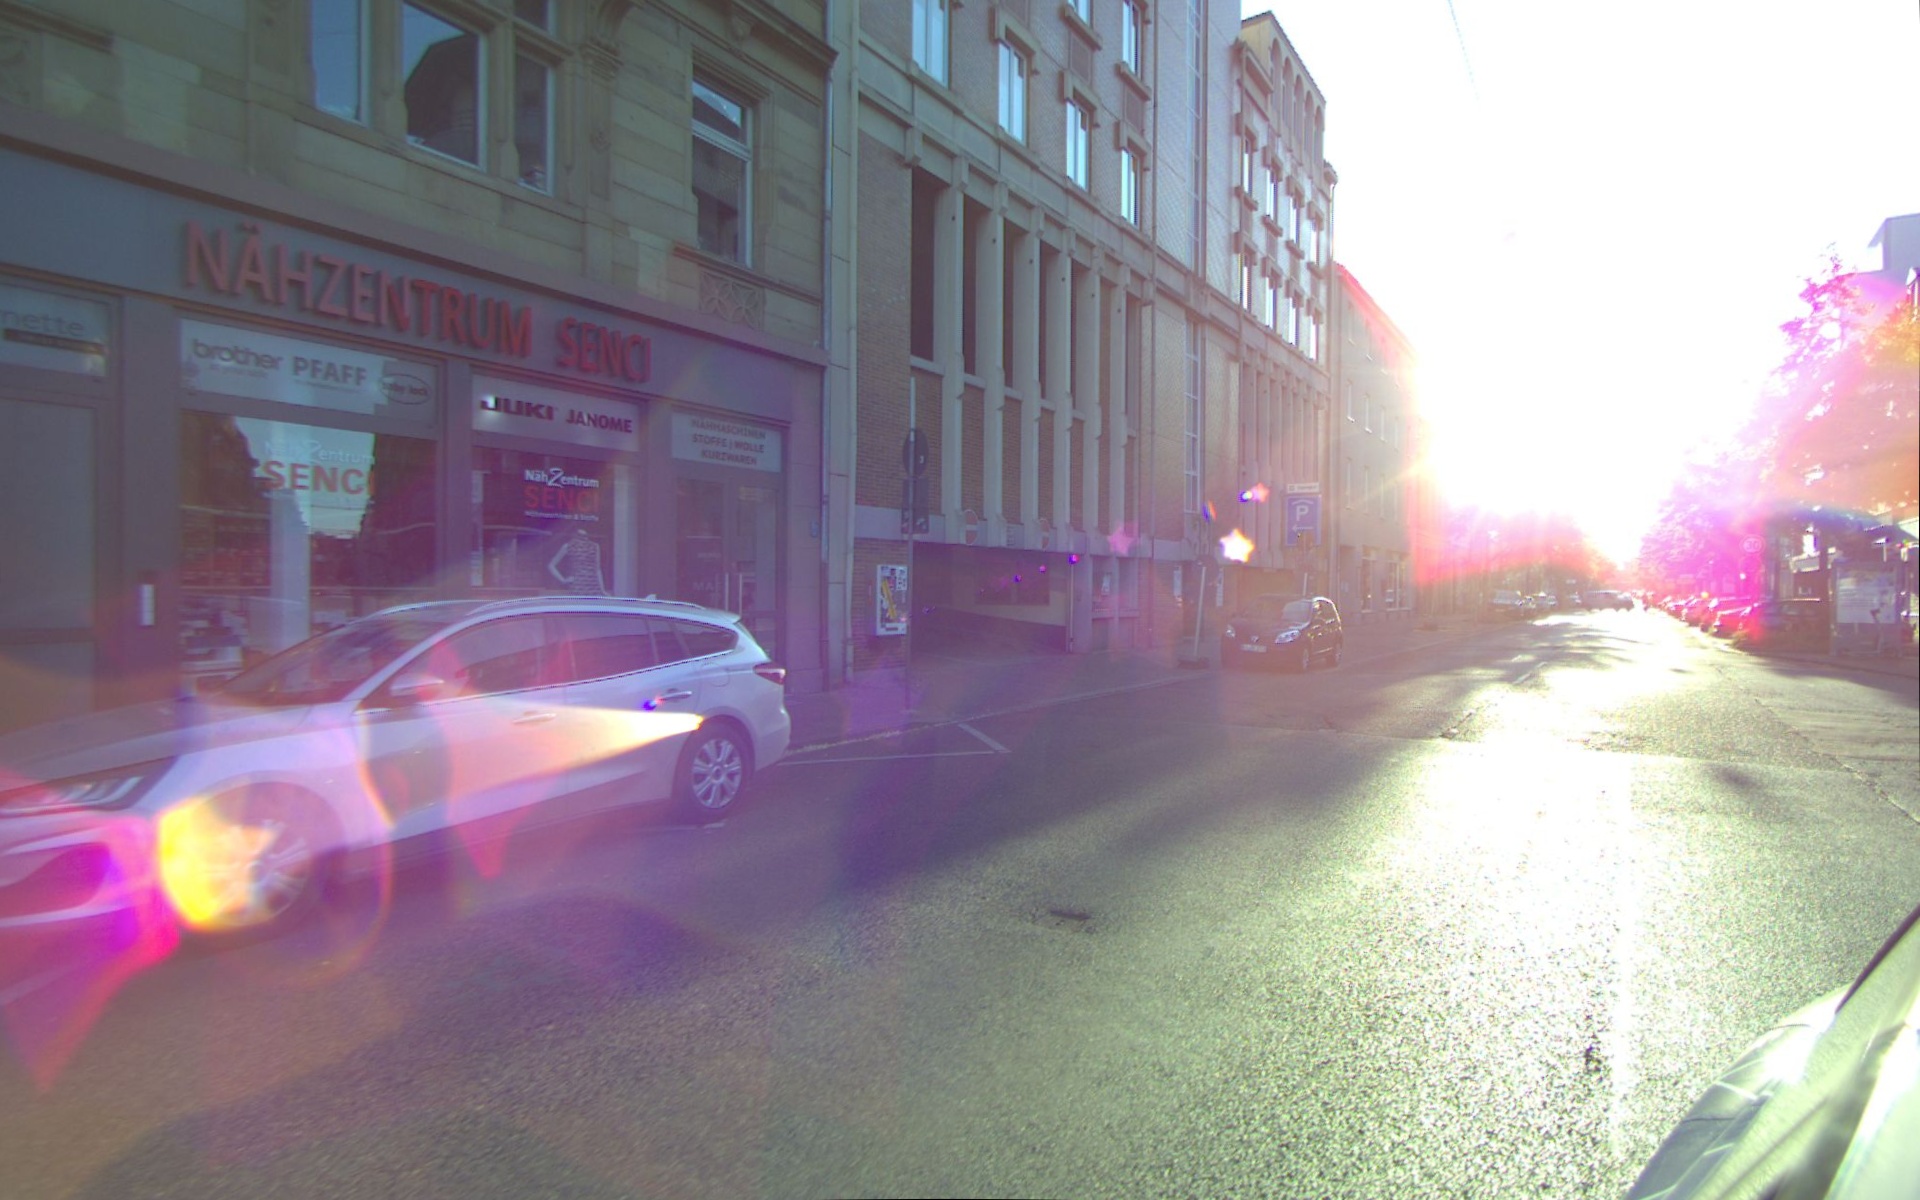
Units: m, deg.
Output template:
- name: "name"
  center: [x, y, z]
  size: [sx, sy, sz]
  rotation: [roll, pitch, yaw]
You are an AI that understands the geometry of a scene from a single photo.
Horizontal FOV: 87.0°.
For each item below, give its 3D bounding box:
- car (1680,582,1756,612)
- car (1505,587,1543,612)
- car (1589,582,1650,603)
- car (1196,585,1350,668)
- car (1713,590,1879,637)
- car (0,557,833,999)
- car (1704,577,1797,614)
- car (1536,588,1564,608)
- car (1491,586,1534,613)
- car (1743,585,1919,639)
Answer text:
- name: "car"
  center: [52.002, -0.225, 69.492]
  size: [3.968, 2.039, 1.978]
  rotation: [0, 0, 32]
- name: "car"
  center: [36.923, -0.047, 66.211]
  size: [1.985, 1.571, 3.953]
  rotation: [1, 1, 33]
- name: "car"
  center: [64.738, -0.739, 99.444]
  size: [1.958, 2.039, 4.861]
  rotation: [0, 1, -19]
- name: "car"
  center: [6.645, 0.489, 21.226]
  size: [1.987, 1.539, 3.950]
  rotation: [2, 1, 35]
- name: "car"
  center: [27.620, 0.413, 33.622]
  size: [3.967, 1.438, 1.978]
  rotation: [1, 1, 31]
- name: "car"
  center: [-3.005, 0.648, 5.992]
  size: [1.985, 1.555, 4.626]
  rotation: [0, -1, 33]
- name: "car"
  center: [44.899, -0.284, 57.597]
  size: [3.968, 2.039, 1.978]
  rotation: [0, 0, 32]
- name: "car"
  center: [46.600, -0.184, 79.889]
  size: [1.744, 1.571, 4.237]
  rotation: [1, 1, 33]
- name: "car"
  center: [32.673, -0.053, 59.803]
  size: [1.985, 1.571, 3.953]
  rotation: [1, 1, 33]
- name: "car"
  center: [26.975, 0.319, 31.129]
  size: [4.413, 1.561, 1.796]
  rotation: [1, 1, 33]
